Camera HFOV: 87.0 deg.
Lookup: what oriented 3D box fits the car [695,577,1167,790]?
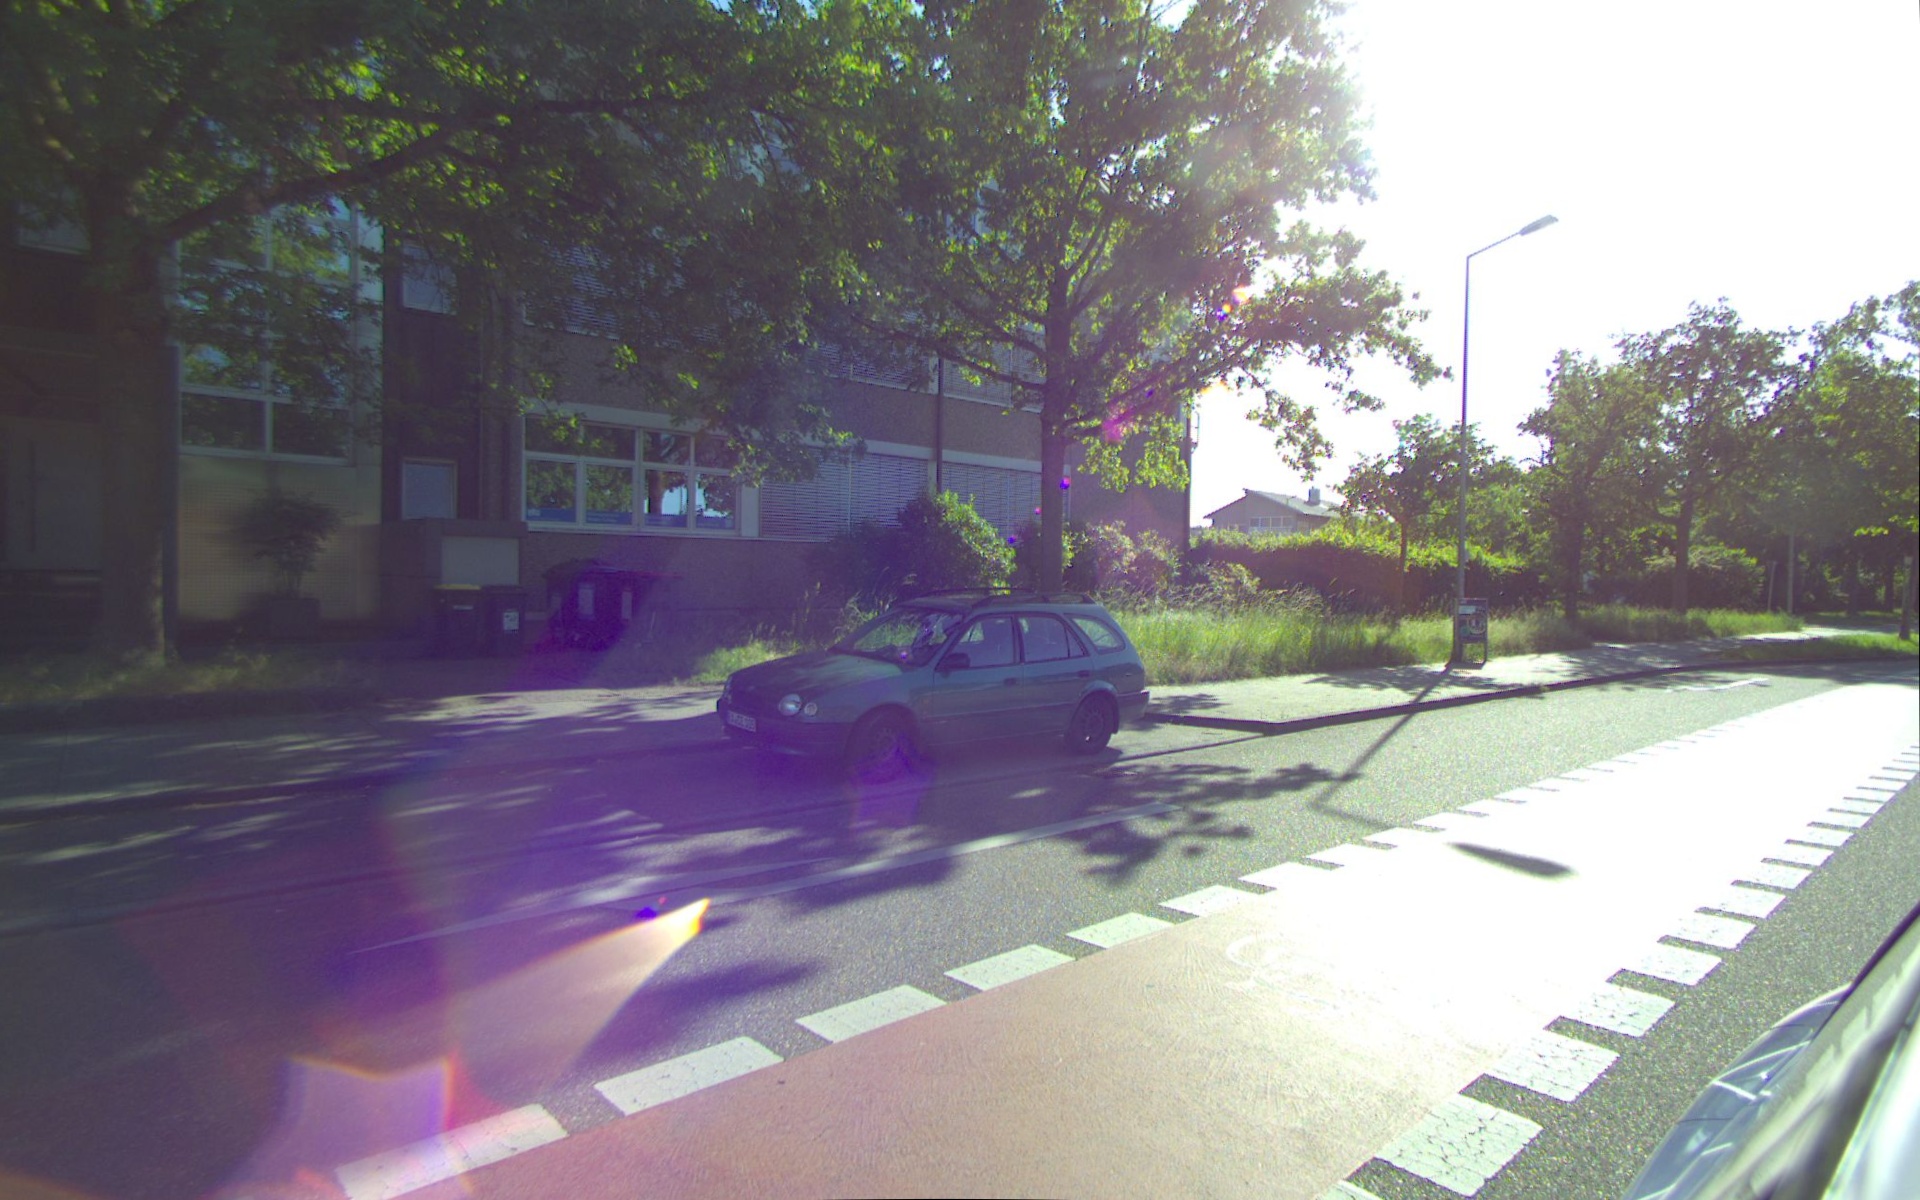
[{"bbox_3d":[-0.099,0.554,9.089,4.129,1.446,1.596,-1,3,-40],"label":"car"}]

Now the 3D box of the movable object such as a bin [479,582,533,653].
[{"bbox_3d":[-6.740,0.249,15.011,0.566,1.020,0.629,-1,1,-41],"label":"movable object such as a bin"}]

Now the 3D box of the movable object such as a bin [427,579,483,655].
[{"bbox_3d":[-7.246,0.227,14.516,0.571,1.045,0.713,0,1,-41],"label":"movable object such as a bin"}]
